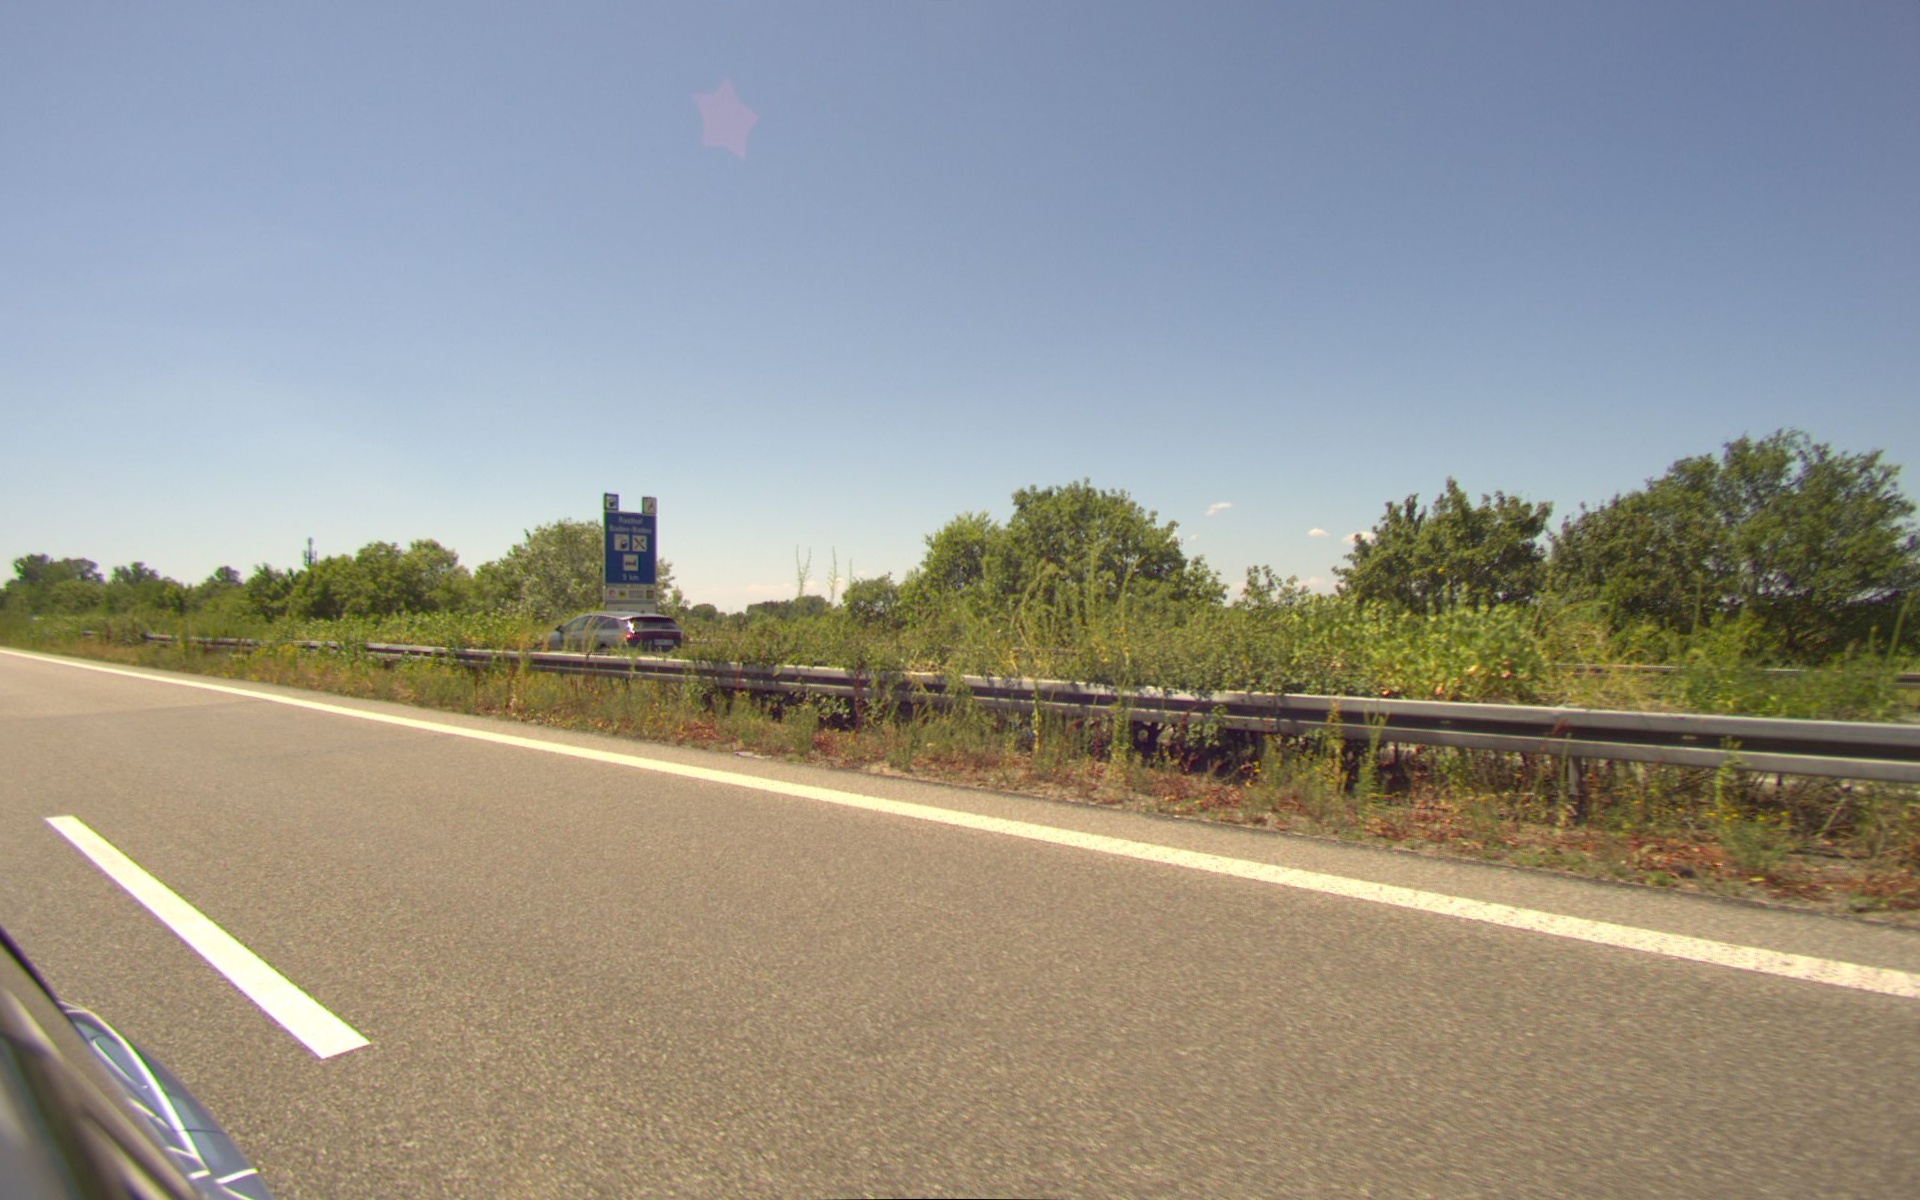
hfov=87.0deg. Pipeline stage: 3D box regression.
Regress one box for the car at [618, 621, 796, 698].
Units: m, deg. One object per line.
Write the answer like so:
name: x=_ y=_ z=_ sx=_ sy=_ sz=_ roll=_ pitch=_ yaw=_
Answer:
car: x=-5.296 y=1.174 z=20.958 sx=3.888 sy=1.413 sz=1.626 roll=-2 pitch=-1 yaw=41
